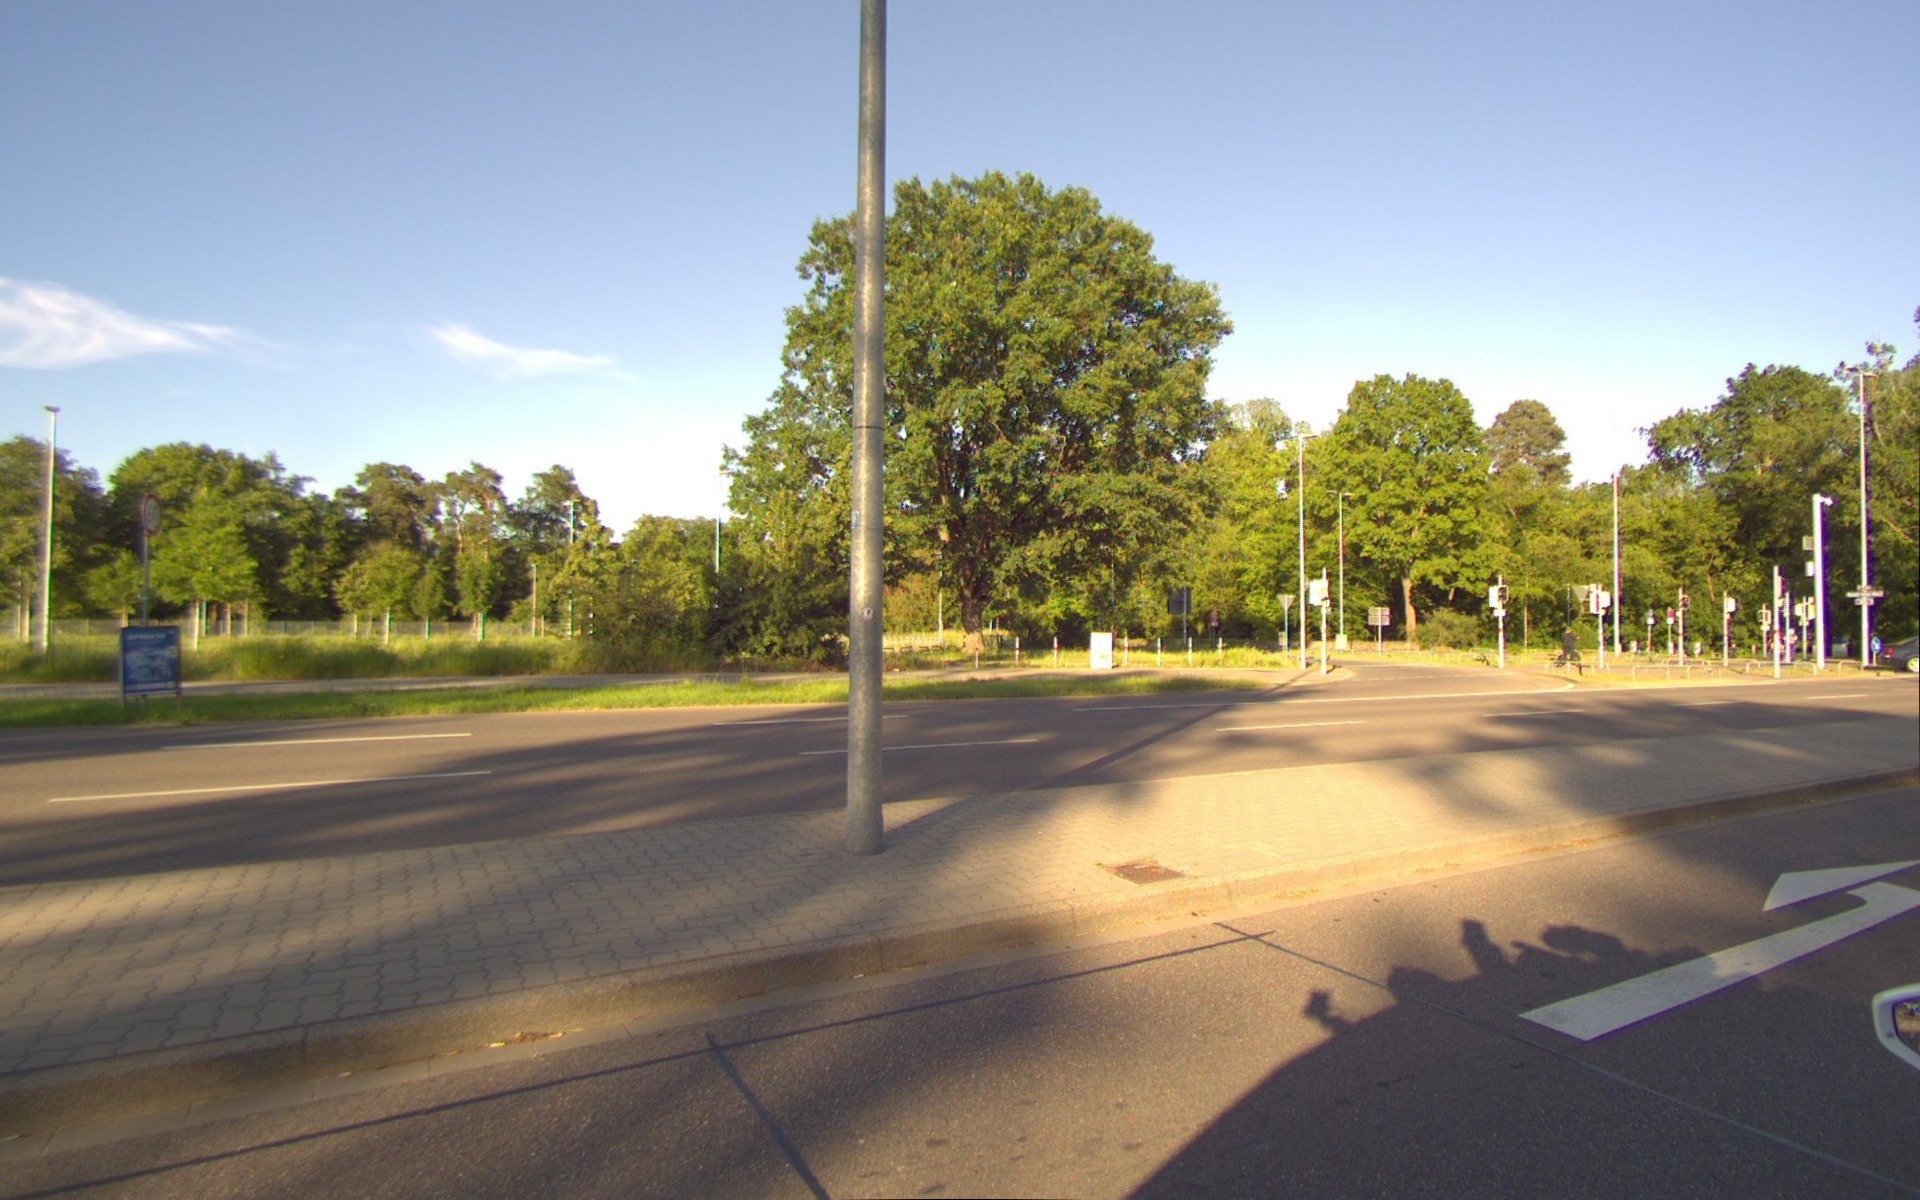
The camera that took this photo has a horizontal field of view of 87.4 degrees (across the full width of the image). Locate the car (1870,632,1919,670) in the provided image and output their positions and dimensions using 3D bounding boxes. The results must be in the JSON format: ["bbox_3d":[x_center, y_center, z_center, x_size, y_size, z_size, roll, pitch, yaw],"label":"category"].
[{"bbox_3d":[36.609,1.908,37.269,4.051,1.405,1.745,-2,-3,38],"label":"car"}]

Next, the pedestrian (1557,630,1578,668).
[{"bbox_3d":[25.731,2.075,42.555,0.636,1.580,0.539,0,-2,18],"label":"pedestrian"}]
